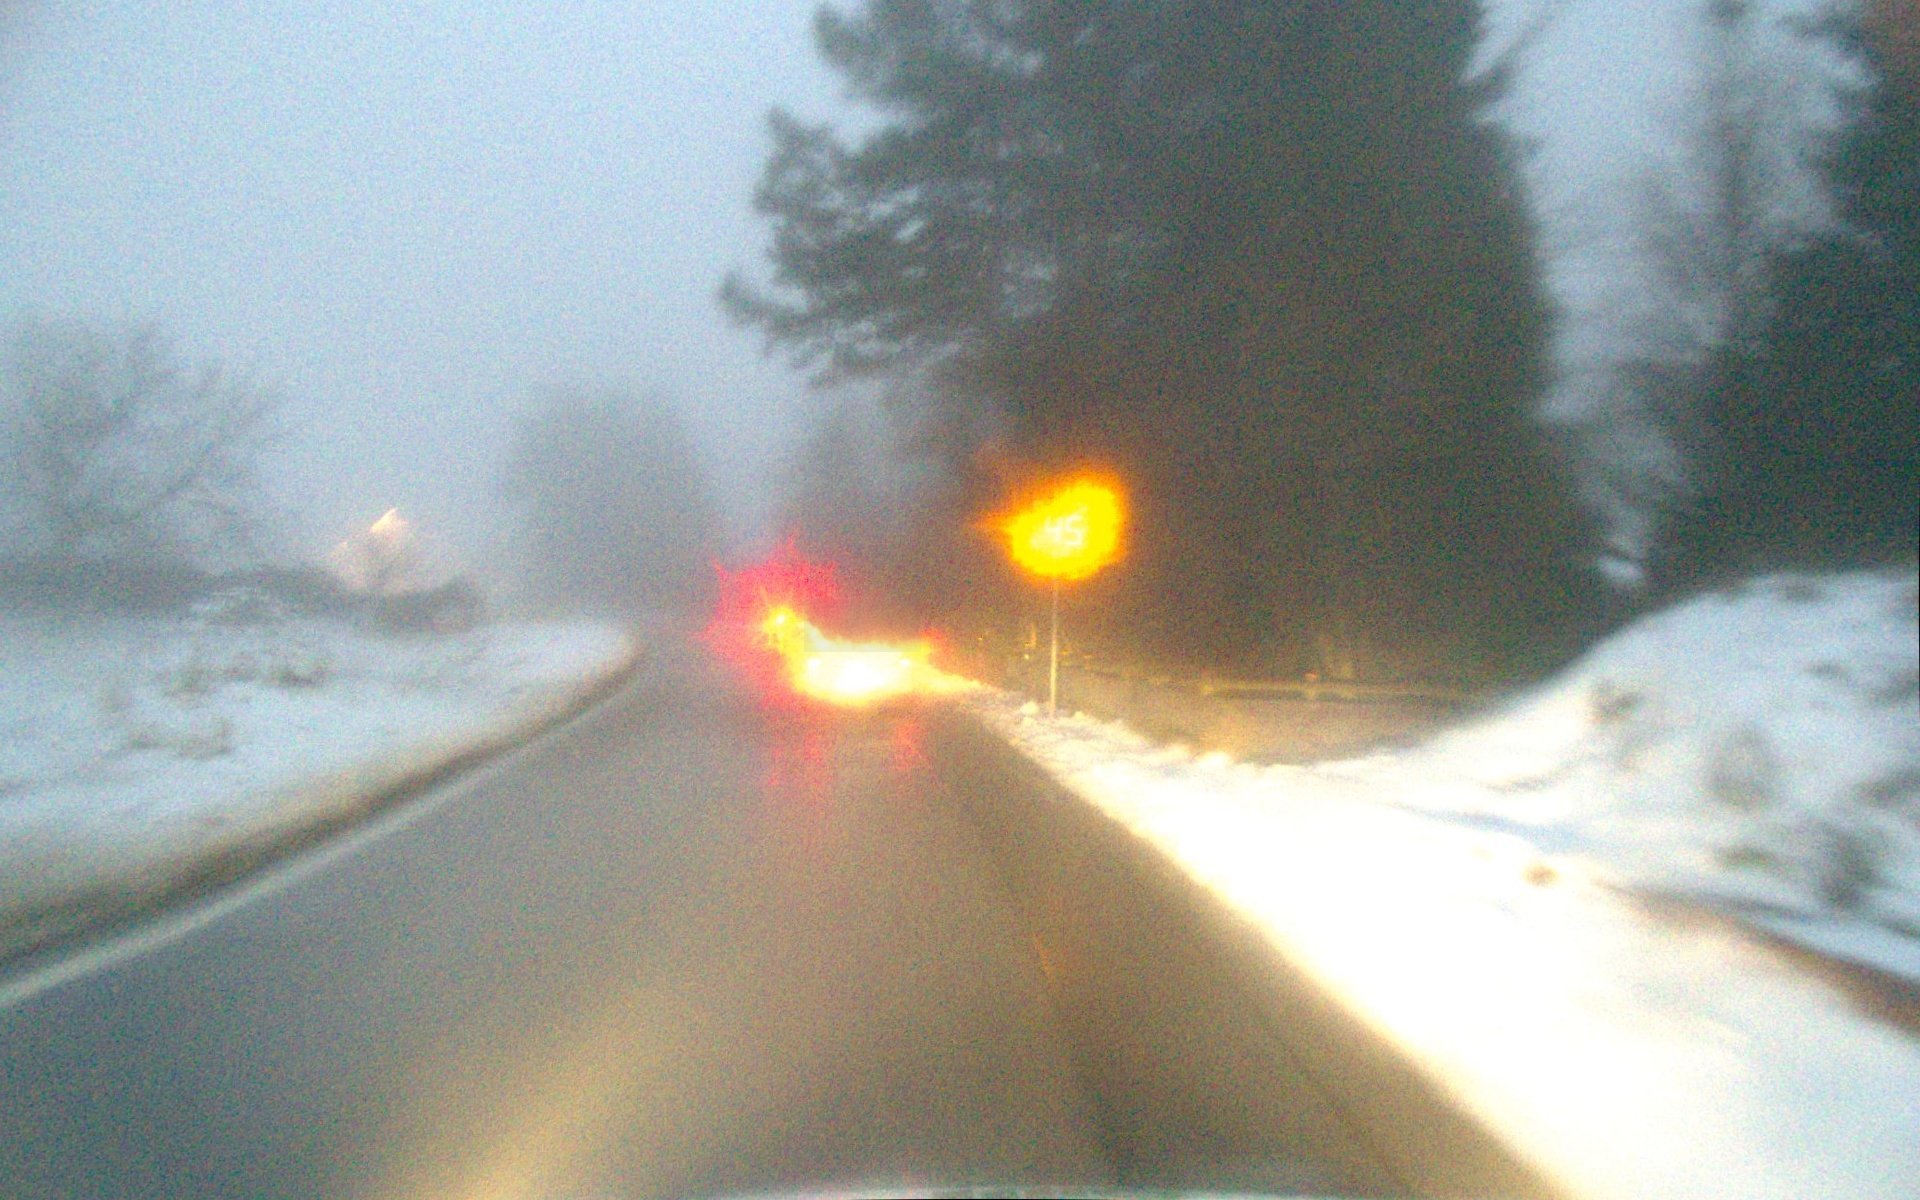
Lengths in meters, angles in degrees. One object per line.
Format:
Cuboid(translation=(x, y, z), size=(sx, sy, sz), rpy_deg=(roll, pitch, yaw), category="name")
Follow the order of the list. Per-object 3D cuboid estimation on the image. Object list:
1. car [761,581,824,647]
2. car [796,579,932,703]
Cuboid(translation=(-4.057, 0.335, 40.149), size=(1.450, 1.534, 3.049), rpy_deg=(1, 0, -5), category="car")
Cuboid(translation=(-1.472, 0.615, 24.262), size=(1.674, 1.488, 3.995), rpy_deg=(7, -2, -5), category="car")
